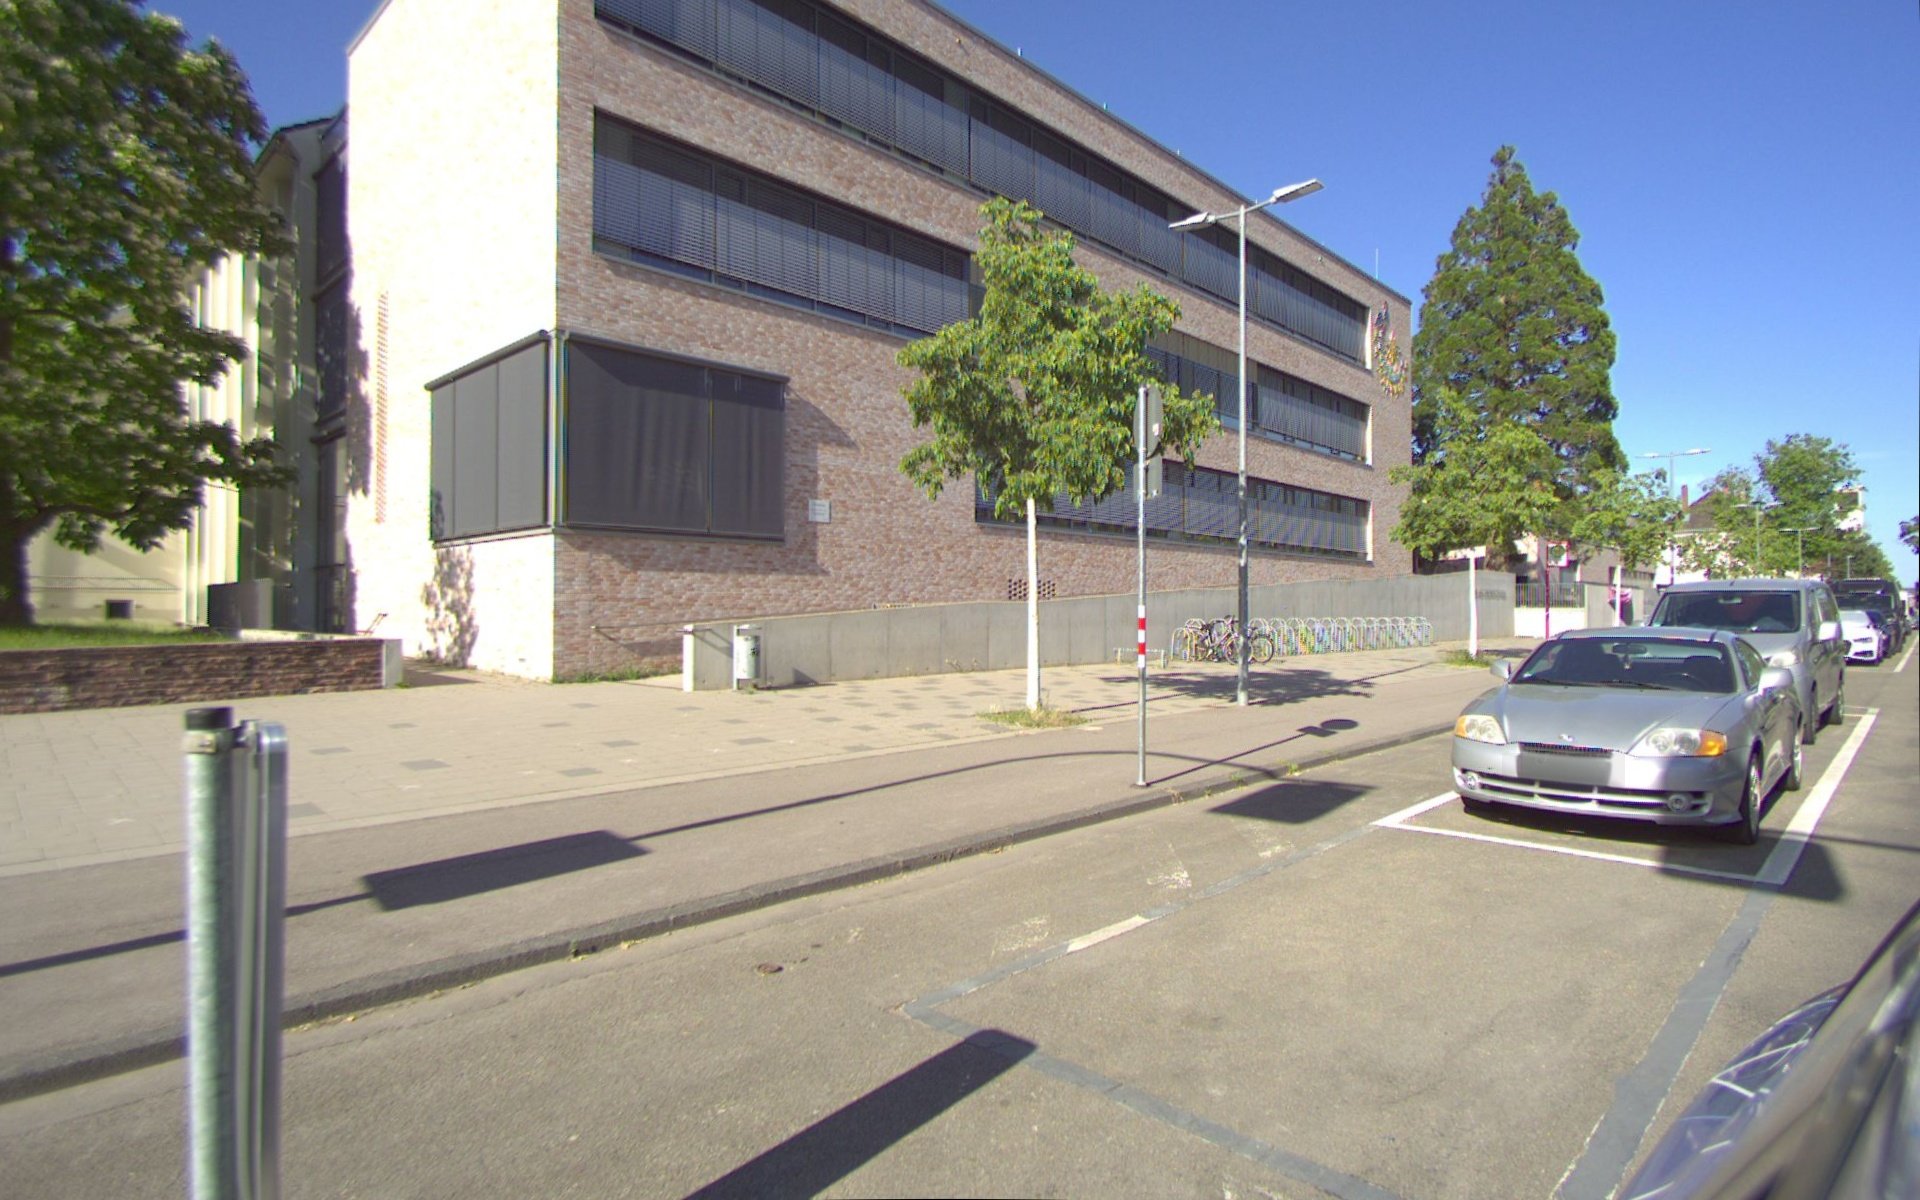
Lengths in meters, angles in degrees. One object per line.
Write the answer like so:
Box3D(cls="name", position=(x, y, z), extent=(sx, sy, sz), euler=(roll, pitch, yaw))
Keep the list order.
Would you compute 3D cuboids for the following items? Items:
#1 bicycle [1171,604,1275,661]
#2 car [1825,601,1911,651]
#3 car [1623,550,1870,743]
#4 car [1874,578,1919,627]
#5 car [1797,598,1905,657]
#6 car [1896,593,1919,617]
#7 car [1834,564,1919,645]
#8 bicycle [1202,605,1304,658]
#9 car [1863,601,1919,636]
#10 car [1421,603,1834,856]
Box3D(cls="bicycle", position=(5.769, 0.685, 22.258), extent=(2.025, 1.076, 0.869), euler=(4, 2, 44))
Box3D(cls="car", position=(27.914, 0.761, 31.075), extent=(3.859, 1.438, 1.712), euler=(0, -1, -44))
Box3D(cls="car", position=(9.777, 0.470, 12.431), extent=(4.550, 1.935, 1.785), euler=(0, -1, -44))
Box3D(cls="car", position=(53.467, 0.147, 57.280), extent=(5.945, 2.631, 2.191), euler=(0, -1, -44))
Box3D(cls="car", position=(23.481, 0.675, 26.630), extent=(3.973, 1.438, 1.821), euler=(0, -1, -44))
Box3D(cls="car", position=(67.300, 0.354, 71.095), extent=(4.676, 1.618, 2.053), euler=(0, -1, -44))
Box3D(cls="car", position=(32.800, 0.151, 35.976), extent=(6.100, 2.631, 2.070), euler=(0, -1, -44))
Box3D(cls="bicycle", position=(6.683, 0.694, 23.136), extent=(0.846, 1.077, 2.081), euler=(0, 2, -44))
Box3D(cls="car", position=(40.444, 0.790, 43.843), extent=(3.859, 1.438, 1.712), euler=(0, -1, -44))
Box3D(cls="car", position=(5.341, 0.707, 7.760), extent=(4.853, 1.349, 1.649), euler=(0, -1, -44))
